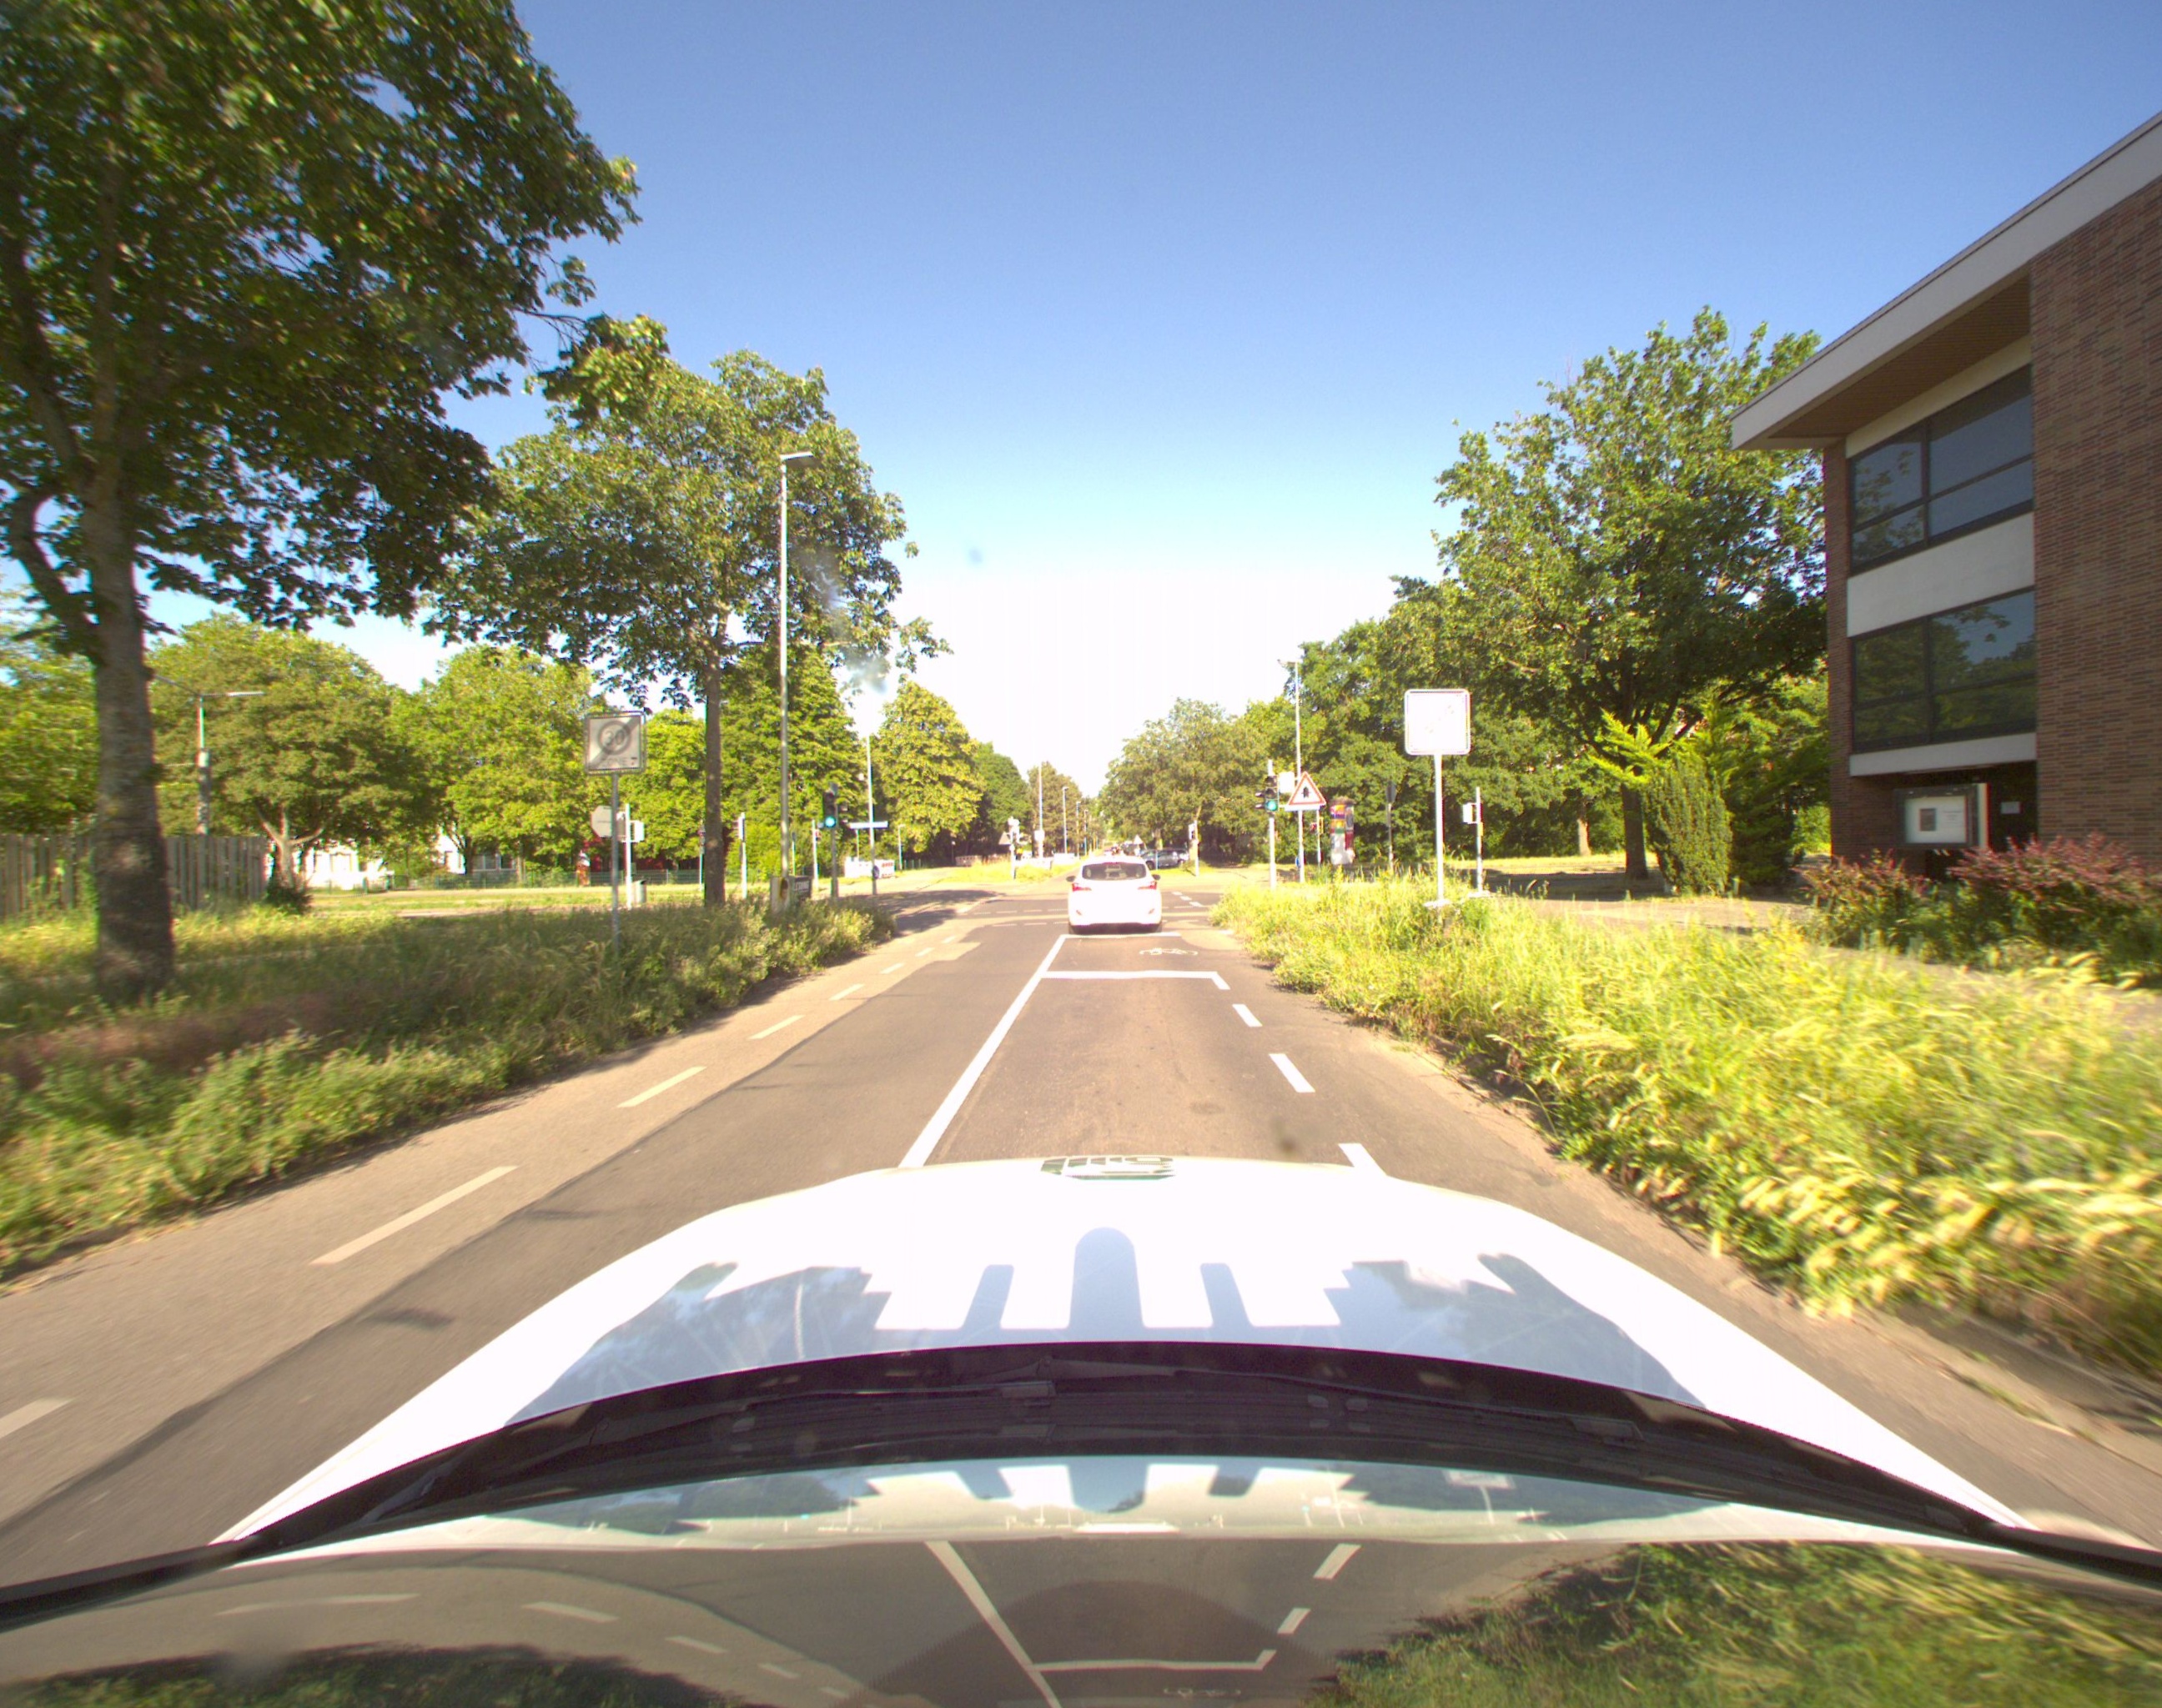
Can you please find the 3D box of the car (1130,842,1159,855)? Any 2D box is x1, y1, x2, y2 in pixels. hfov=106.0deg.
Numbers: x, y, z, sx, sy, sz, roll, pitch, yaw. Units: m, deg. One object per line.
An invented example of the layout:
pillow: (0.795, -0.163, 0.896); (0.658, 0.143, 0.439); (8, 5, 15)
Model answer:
car: (8.509, -0.709, 109.471); (3.804, 1.684, 1.864); (0, 0, 2)

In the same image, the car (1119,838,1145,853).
car: (7.486, -1.255, 119.552); (3.804, 2.098, 1.864); (0, 0, 2)

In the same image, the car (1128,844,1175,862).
car: (6.885, -0.139, 79.595); (4.478, 1.629, 1.857); (-1, 0, 4)

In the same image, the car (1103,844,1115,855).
car: (4.913, -0.796, 142.095); (1.985, 1.815, 4.003); (1, 0, 3)

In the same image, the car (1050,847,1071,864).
car: (-2.288, 0.159, 91.743); (1.985, 1.815, 4.003); (0, 1, 3)

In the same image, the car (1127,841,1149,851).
car: (10.000, -1.479, 143.669); (3.804, 1.767, 1.864); (0, 0, 2)

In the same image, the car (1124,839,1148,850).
car: (9.907, -1.658, 146.824); (4.285, 1.907, 1.864); (0, 0, 2)

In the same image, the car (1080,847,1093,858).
car: (0.963, -0.257, 136.746); (1.985, 1.816, 4.003); (-1, 0, 3)

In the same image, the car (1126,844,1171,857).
car: (8.445, -0.460, 102.891); (5.592, 1.684, 1.949); (0, 0, 2)

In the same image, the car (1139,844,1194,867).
car: (7.059, 0.125, 67.506); (4.478, 1.783, 1.857); (-1, 0, 4)

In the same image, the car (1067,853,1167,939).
car: (0.659, 0.759, 16.696); (1.783, 1.463, 3.963); (-1, 1, 0)

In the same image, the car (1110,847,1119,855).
car: (7.379, -0.750, 181.484); (1.985, 1.816, 4.003); (0, 0, 3)
